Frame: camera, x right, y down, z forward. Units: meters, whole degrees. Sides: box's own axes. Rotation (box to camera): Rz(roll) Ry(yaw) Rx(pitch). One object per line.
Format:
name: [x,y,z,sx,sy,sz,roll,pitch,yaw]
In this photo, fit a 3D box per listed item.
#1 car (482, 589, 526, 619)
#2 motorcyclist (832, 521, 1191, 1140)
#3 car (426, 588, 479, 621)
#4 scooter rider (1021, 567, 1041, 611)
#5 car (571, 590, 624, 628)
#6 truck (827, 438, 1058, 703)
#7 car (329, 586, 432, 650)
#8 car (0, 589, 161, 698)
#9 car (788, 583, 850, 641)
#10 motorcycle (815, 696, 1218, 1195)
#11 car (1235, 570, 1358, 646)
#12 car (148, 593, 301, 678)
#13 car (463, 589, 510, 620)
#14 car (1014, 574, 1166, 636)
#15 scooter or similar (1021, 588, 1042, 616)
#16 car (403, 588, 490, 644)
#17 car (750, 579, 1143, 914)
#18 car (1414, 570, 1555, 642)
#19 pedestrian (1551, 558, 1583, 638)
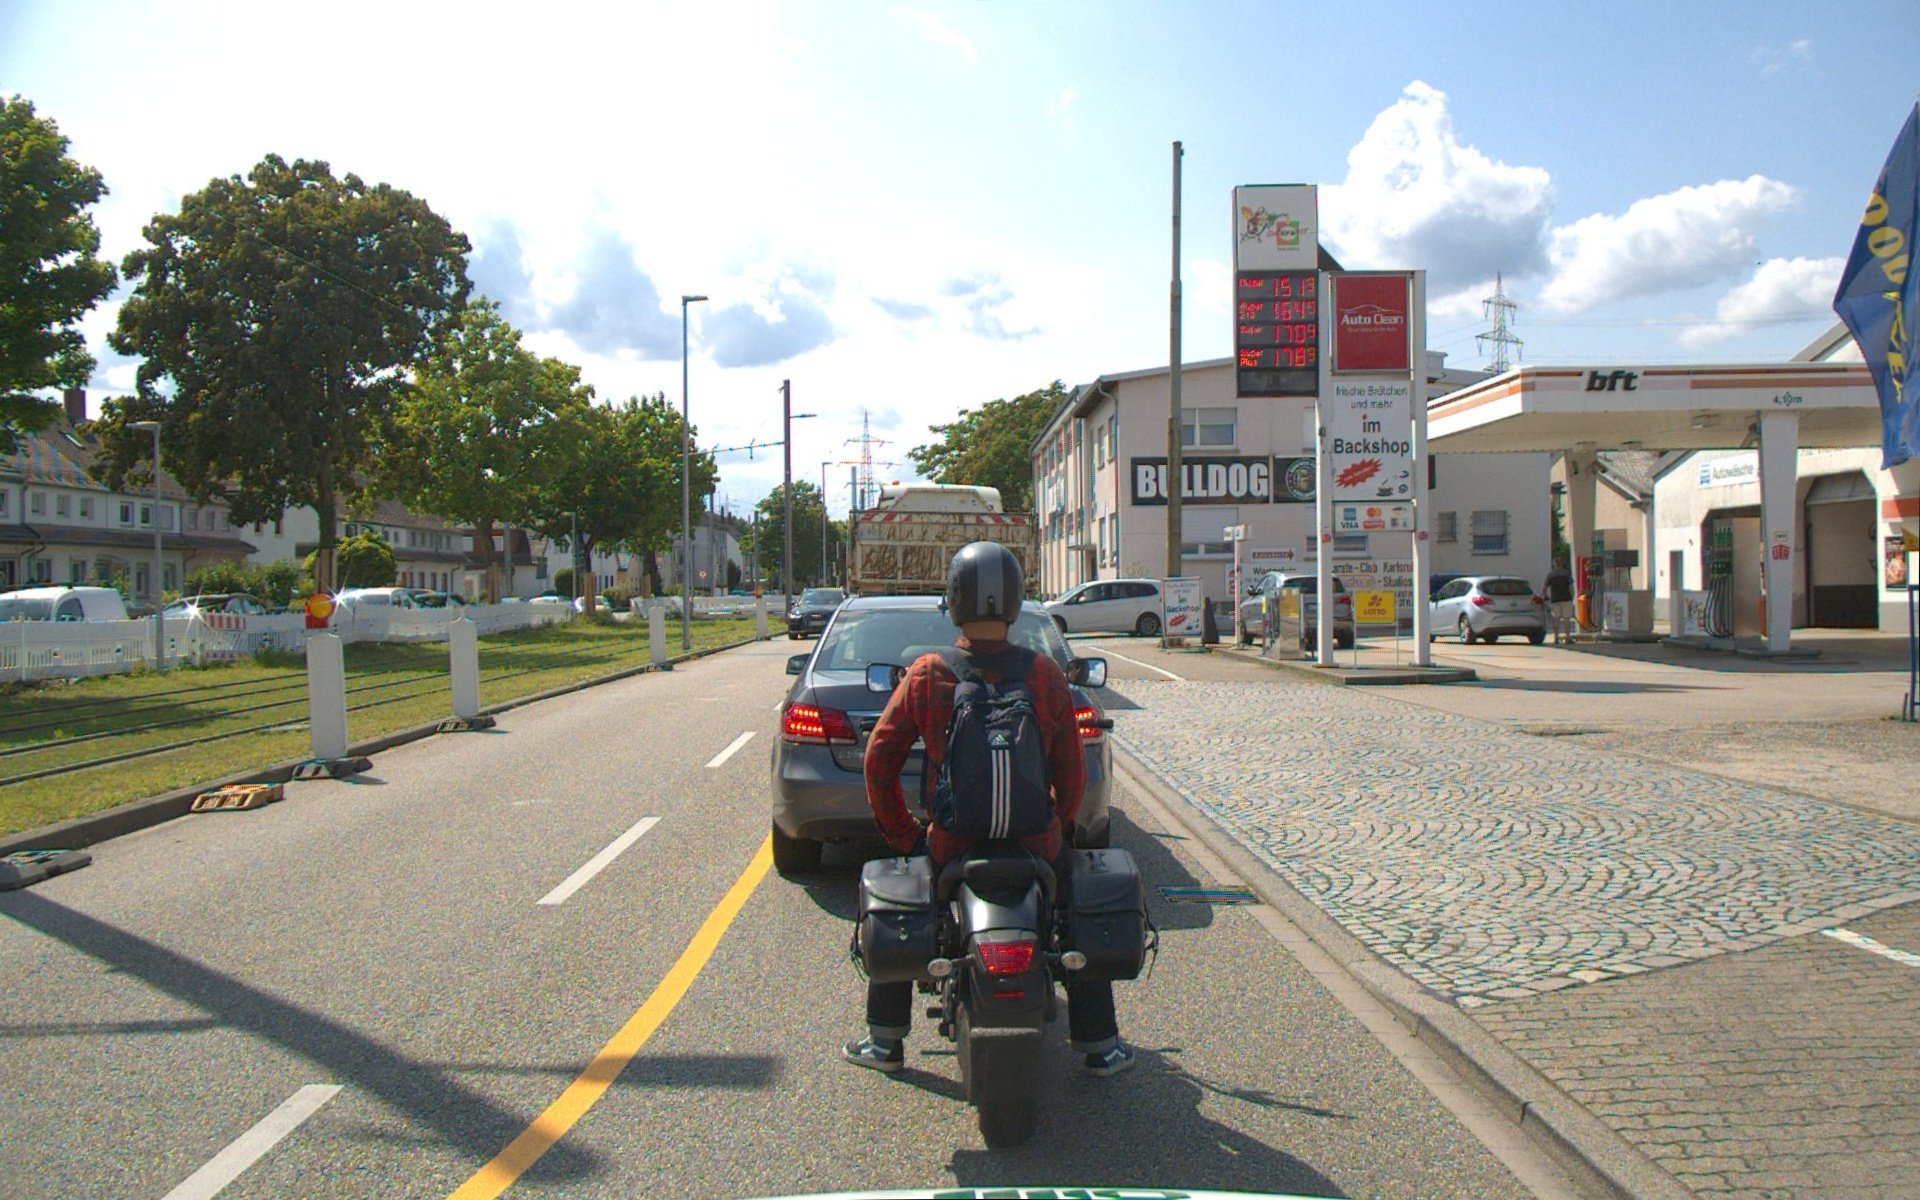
car: [-28.665,0.232,104.144,1.664,1.770,4.061,-1,0,-1]
motorcyclist: [0.131,0.620,5.073,0.950,1.662,1.214,1,0,-1]
car: [-28.181,0.246,91.932,1.664,1.770,4.061,-1,0,-1]
scooter rider: [2.960,-0.459,69.147,0.779,1.850,0.508,-1,0,-1]
car: [-17.339,0.409,79.189,1.664,1.770,3.860,-1,0,-1]
truck: [-0.354,-0.419,25.466,2.910,3.362,8.404,-1,0,-2]
car: [-16.963,0.496,48.612,1.664,1.770,3.860,-1,0,-1]
car: [-16.416,0.745,30.291,1.664,1.849,3.860,-1,0,-1]
car: [-4.320,0.332,50.176,1.649,1.652,4.112,-1,0,-8]
motorcycle: [0.120,0.903,5.191,0.956,1.031,2.431,1,0,-1]
car: [7.403,0.146,36.752,1.795,1.562,4.008,-1,0,-2]
car: [-16.671,0.759,37.715,1.664,1.770,4.053,-1,0,-1]
car: [-28.062,0.261,98.142,1.664,1.770,4.061,-1,0,-1]
car: [3.671,0.121,47.082,4.029,1.652,1.682,-1,0,-9]
scooter or similar: [2.970,0.075,69.195,0.779,1.165,1.519,-1,0,-1]
car: [-17.018,0.499,54.978,1.664,1.770,3.860,-1,0,-1]
car: [-0.120,0.659,9.674,1.795,1.505,4.008,-1,0,-2]
car: [11.774,0.106,37.418,1.795,1.505,4.008,-1,0,-2]
pedestrian: [13.136,-0.043,35.789,0.621,1.712,0.622,-1,0,20]
